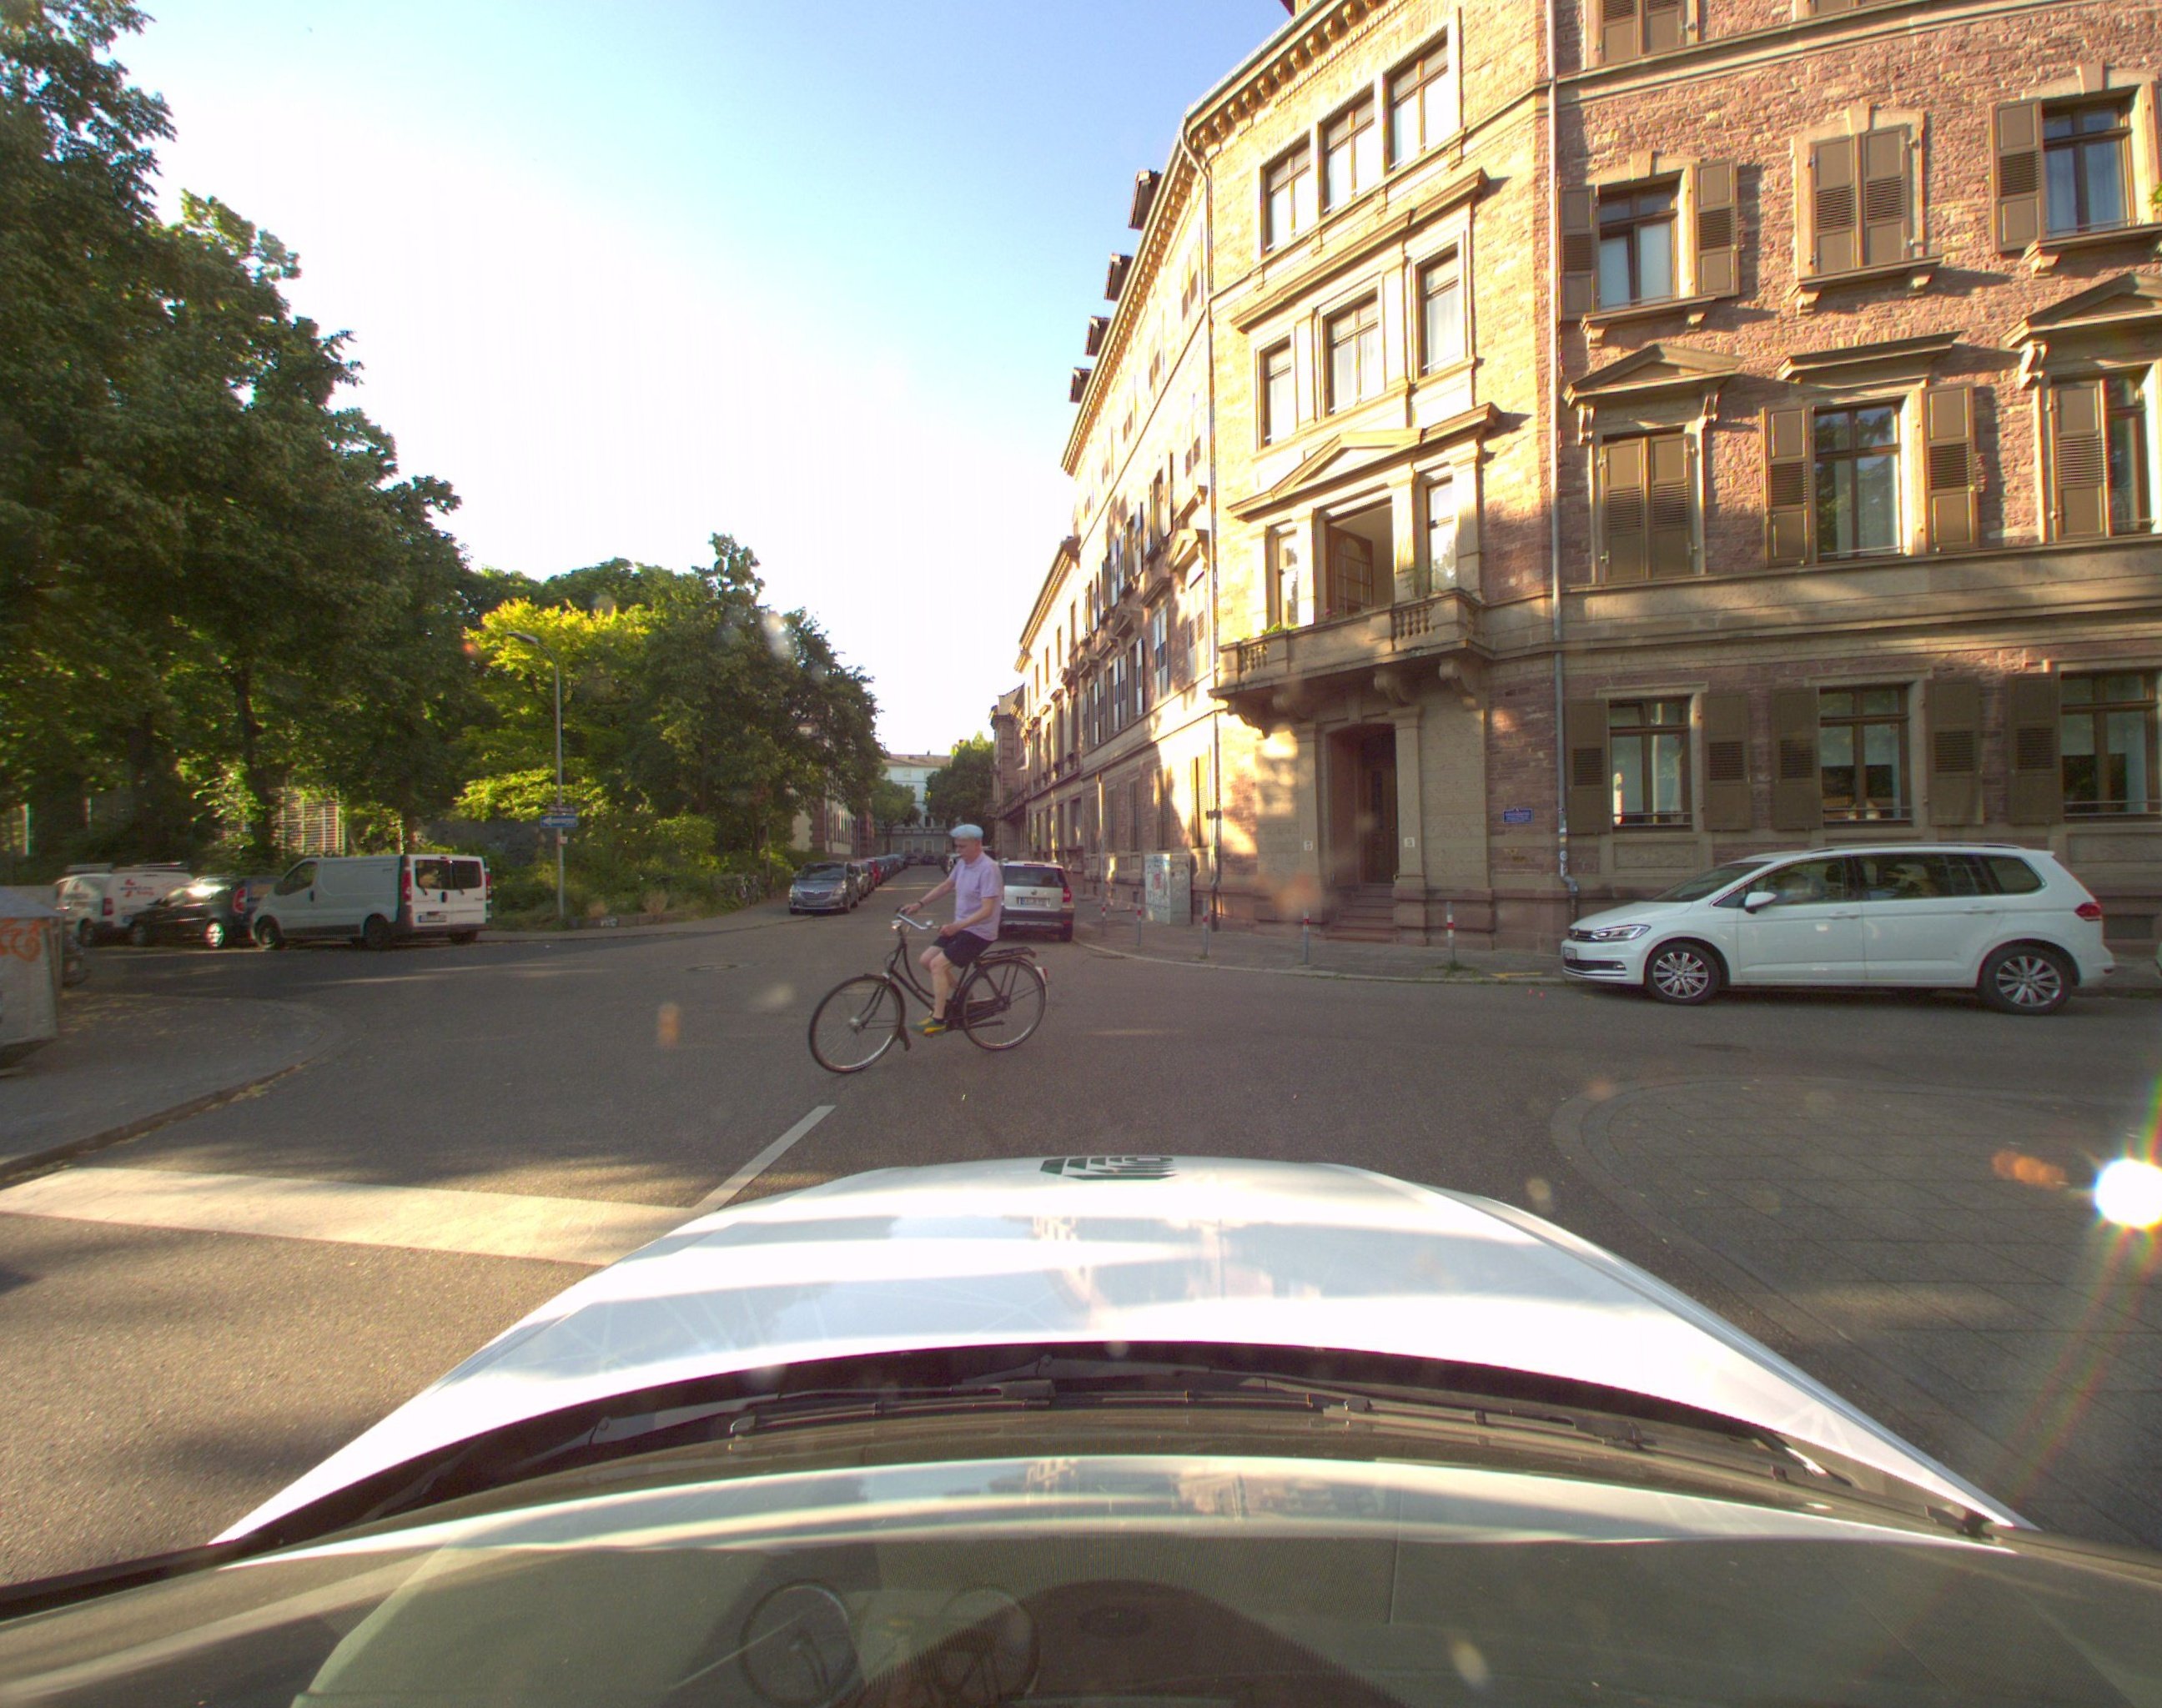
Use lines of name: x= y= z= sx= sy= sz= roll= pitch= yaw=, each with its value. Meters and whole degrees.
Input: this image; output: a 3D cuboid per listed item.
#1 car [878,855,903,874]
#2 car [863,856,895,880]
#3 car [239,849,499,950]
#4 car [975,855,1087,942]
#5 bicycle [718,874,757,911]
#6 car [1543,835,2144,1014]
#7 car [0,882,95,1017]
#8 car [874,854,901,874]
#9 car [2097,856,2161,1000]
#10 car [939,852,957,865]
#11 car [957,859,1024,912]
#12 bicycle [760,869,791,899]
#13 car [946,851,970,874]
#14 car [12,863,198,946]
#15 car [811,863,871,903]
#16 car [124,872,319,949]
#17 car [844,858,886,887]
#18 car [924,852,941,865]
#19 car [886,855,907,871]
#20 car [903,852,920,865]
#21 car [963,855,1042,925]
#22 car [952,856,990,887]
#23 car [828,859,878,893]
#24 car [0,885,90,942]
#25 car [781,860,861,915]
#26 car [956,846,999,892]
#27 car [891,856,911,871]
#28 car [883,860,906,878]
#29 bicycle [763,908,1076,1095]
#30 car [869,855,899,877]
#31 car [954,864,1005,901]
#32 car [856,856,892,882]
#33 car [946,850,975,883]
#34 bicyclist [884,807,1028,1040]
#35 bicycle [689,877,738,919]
car: x=-16.492 y=0.883 z=70.741 sx=1.826 sy=1.500 sz=3.918 roll=2 pitch=-1 yaw=-10
car: x=-13.849 y=0.939 z=56.024 sx=1.826 sy=1.500 sz=3.918 roll=2 pitch=-1 yaw=-10
car: x=-15.365 y=0.946 z=17.642 sx=4.610 sy=2.003 sz=1.958 roll=-1 pitch=0 yaw=15
car: x=-1.237 y=0.914 z=18.033 sx=1.916 sy=1.657 sz=4.171 roll=2 pitch=-1 yaw=-11
bicycle: x=-11.220 y=1.239 z=26.674 sx=0.597 sy=1.101 sz=2.618 roll=-1 pitch=0 yaw=-10
car: x=7.862 y=0.720 z=9.001 sx=4.449 sy=1.650 sz=1.882 roll=-1 pitch=-3 yaw=15
car: x=-13.946 y=1.070 z=8.928 sx=3.756 sy=1.521 sz=1.588 roll=3 pitch=-3 yaw=-43
car: x=-15.760 y=0.789 z=66.442 sx=1.826 sy=1.500 sz=3.918 roll=2 pitch=-1 yaw=-10
car: x=12.919 y=0.734 z=7.776 sx=3.686 sy=1.490 sz=1.748 roll=-1 pitch=-3 yaw=14
car: x=-19.015 y=0.649 z=116.385 sx=1.998 sy=1.684 sz=3.978 roll=0 pitch=-2 yaw=-16
car: x=-3.148 y=1.013 z=27.607 sx=1.799 sy=1.614 sz=3.938 roll=2 pitch=-1 yaw=-13
bicycle: x=-12.382 y=1.188 z=33.064 sx=0.596 sy=1.101 sz=2.619 roll=-1 pitch=0 yaw=-9
car: x=-10.172 y=0.693 z=66.998 sx=1.798 sy=1.839 sz=3.941 roll=2 pitch=-1 yaw=-10
car: x=-24.230 y=1.229 z=20.238 sx=3.858 sy=1.903 sz=1.583 roll=-1 pitch=0 yaw=17
car: x=-9.661 y=1.122 z=33.069 sx=1.826 sy=1.447 sz=3.918 roll=2 pitch=-1 yaw=-10
car: x=-19.900 y=1.273 z=18.880 sx=3.671 sy=1.637 sz=1.583 roll=-1 pitch=0 yaw=16
car: x=-11.817 y=0.987 z=44.736 sx=1.826 sy=1.500 sz=3.918 roll=2 pitch=-1 yaw=-10
car: x=-21.142 y=0.631 z=115.657 sx=1.998 sy=1.684 sz=3.978 roll=0 pitch=-2 yaw=-16
car: x=-18.502 y=0.847 z=81.704 sx=1.826 sy=1.500 sz=3.918 roll=2 pitch=-1 yaw=-10
car: x=-23.820 y=0.598 z=114.455 sx=1.998 sy=1.684 sz=3.978 roll=0 pitch=-2 yaw=-16
car: x=-2.317 y=0.941 z=23.030 sx=1.826 sy=1.723 sz=4.528 roll=2 pitch=-1 yaw=-10
car: x=-6.009 y=0.920 z=44.201 sx=1.798 sy=1.524 sz=3.941 roll=2 pitch=-1 yaw=-10
car: x=-10.718 y=0.996 z=38.519 sx=1.826 sy=1.478 sz=3.918 roll=2 pitch=-1 yaw=-10
car: x=-28.879 y=1.582 z=21.956 sx=3.559 sy=1.386 sz=1.584 roll=-1 pitch=0 yaw=19
car: x=-8.372 y=1.026 z=26.591 sx=1.826 sy=1.615 sz=4.276 roll=2 pitch=-1 yaw=-10
car: x=-5.005 y=0.686 z=39.022 sx=1.798 sy=2.072 sz=3.941 roll=2 pitch=-1 yaw=-10
car: x=-19.165 y=0.990 z=86.751 sx=1.826 sy=1.500 sz=3.918 roll=2 pitch=-1 yaw=-10
car: x=-17.330 y=1.382 z=75.721 sx=1.826 sy=1.500 sz=3.918 roll=2 pitch=-1 yaw=-10
bicycle: x=-1.150 y=0.986 z=5.944 sx=2.128 sy=1.054 sz=0.695 roll=-1 pitch=-1 yaw=-26
car: x=-14.661 y=0.897 z=60.725 sx=1.826 sy=1.500 sz=3.918 roll=2 pitch=-1 yaw=-10
car: x=-4.198 y=1.115 z=33.184 sx=1.798 sy=1.345 sz=3.941 roll=2 pitch=-1 yaw=-10
car: x=-12.946 y=0.934 z=51.186 sx=1.826 sy=1.500 sz=3.918 roll=2 pitch=-1 yaw=-10
car: x=-8.260 y=0.829 z=55.529 sx=1.798 sy=2.072 sz=3.941 roll=2 pitch=-1 yaw=-10
bicyclist: x=-0.943 y=0.469 z=6.057 sx=0.876 sy=1.588 sz=0.695 roll=-1 pitch=-1 yaw=-26
bicycle: x=-10.795 y=1.260 z=23.997 sx=0.596 sy=1.101 sz=2.620 roll=-1 pitch=0 yaw=-8
